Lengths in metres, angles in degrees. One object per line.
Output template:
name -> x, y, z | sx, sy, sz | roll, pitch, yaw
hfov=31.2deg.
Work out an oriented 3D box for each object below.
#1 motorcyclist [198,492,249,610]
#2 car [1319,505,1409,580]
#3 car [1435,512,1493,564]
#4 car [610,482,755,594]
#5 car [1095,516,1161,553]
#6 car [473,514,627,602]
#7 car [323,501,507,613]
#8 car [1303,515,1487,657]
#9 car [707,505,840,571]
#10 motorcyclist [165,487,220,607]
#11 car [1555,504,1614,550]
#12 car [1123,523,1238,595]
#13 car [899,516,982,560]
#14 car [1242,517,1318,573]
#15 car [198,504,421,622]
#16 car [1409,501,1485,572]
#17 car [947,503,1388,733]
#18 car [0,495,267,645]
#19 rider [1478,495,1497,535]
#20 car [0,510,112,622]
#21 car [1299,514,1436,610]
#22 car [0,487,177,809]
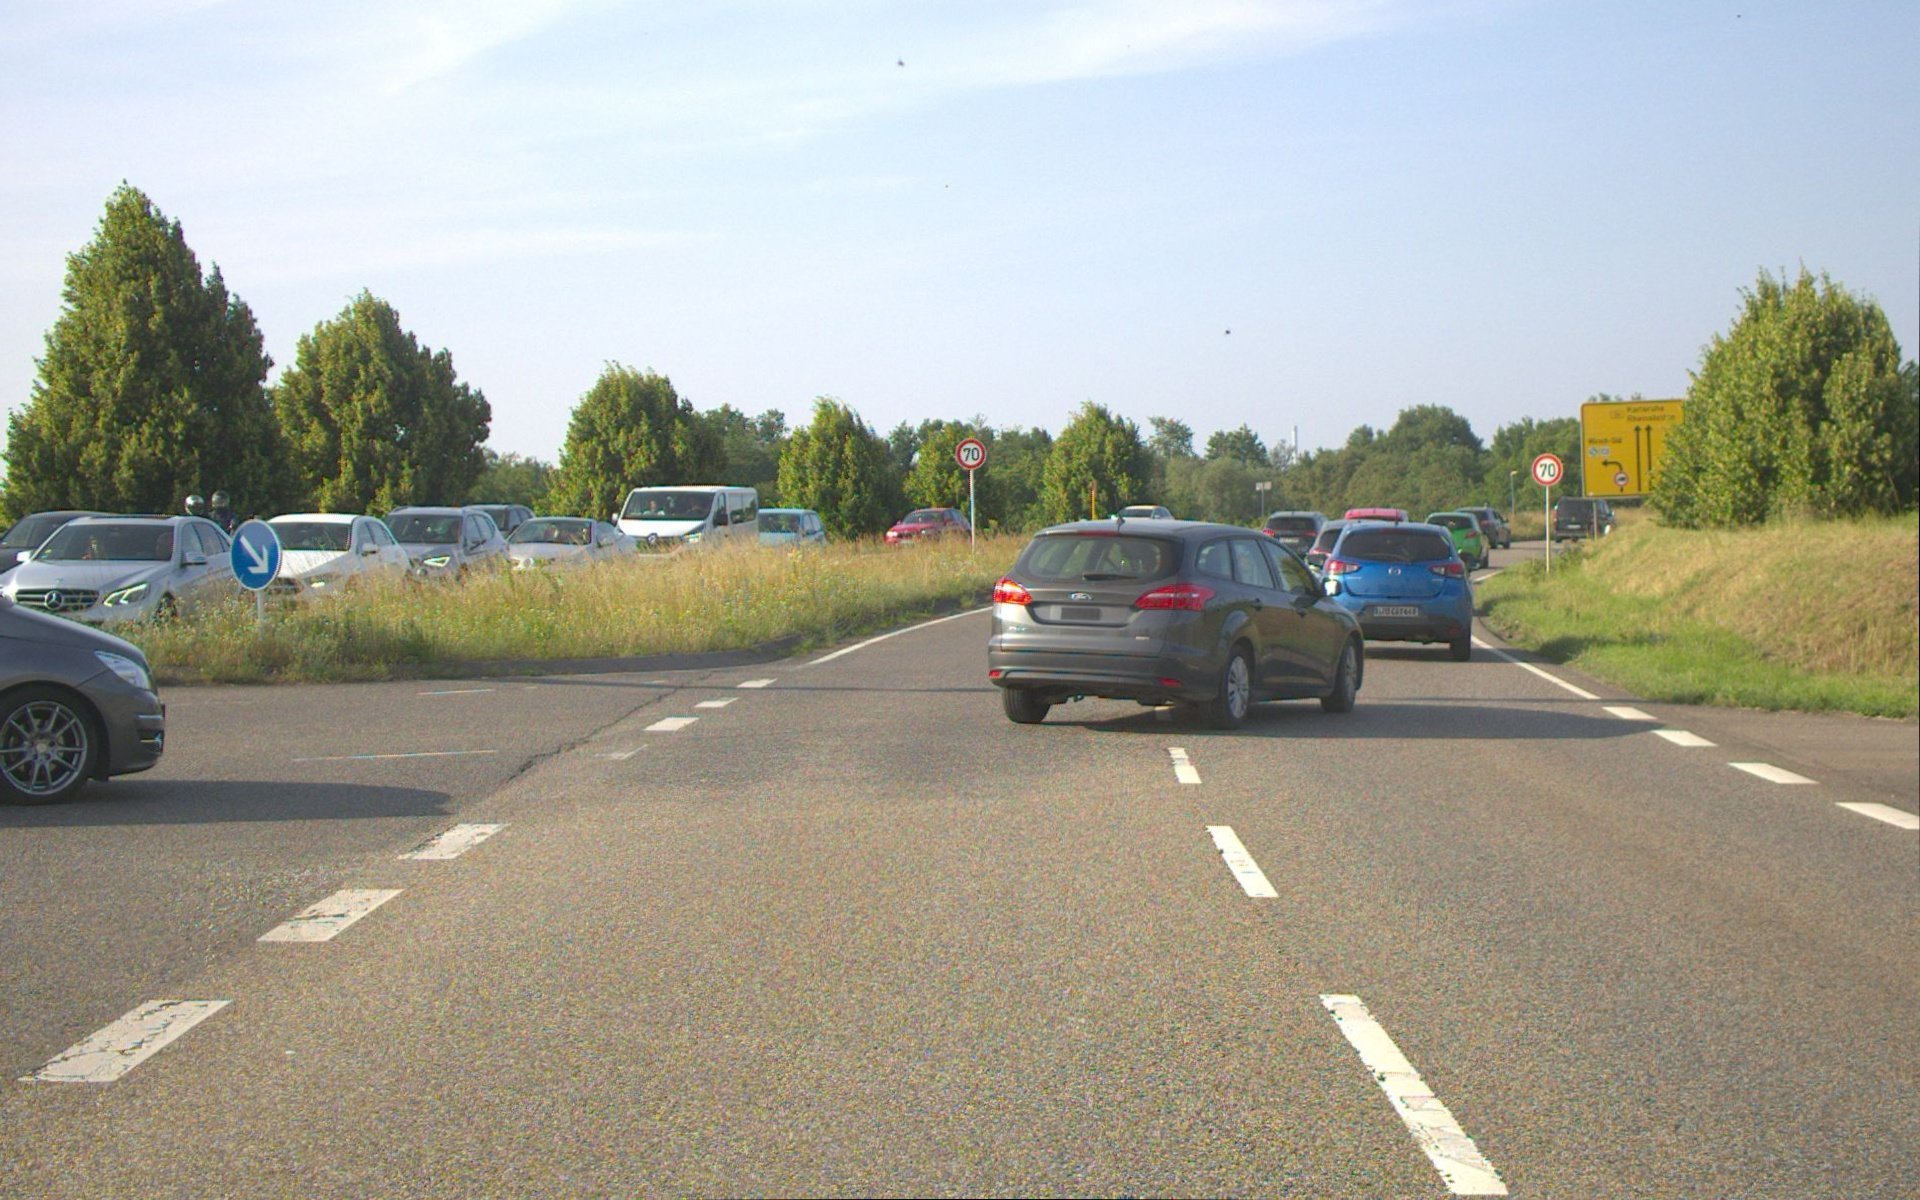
motorcyclist -> -11.439, -0.765, 53.376 | 0.662, 1.810, 0.605 | -1, 1, -3
car -> 8.862, -1.235, 75.446 | 1.895, 1.559, 4.277 | 0, 0, 7
car -> 17.498, -2.135, 119.403 | 1.909, 1.728, 4.277 | 0, 0, 7
car -> -5.308, -1.200, 66.363 | 1.926, 2.071, 4.242 | 0, 1, 7
car -> 6.472, -2.519, 131.945 | 1.787, 1.381, 4.049 | 0, 1, 13
car -> -6.737, -0.715, 56.835 | 1.786, 1.381, 4.051 | -1, 1, 4
car -> -7.989, -0.650, 50.722 | 1.786, 1.563, 4.051 | -1, 1, 4
car -> 4.876, -0.199, 38.156 | 1.773, 1.487, 3.983 | 0, 1, 11
car -> -3.998, -1.353, 74.468 | 1.787, 1.381, 4.049 | 0, 1, 13
motorcyclist -> -11.272, -0.781, 50.502 | 0.662, 1.741, 0.605 | -1, 1, -3
car -> 24.714, -2.876, 136.113 | 1.909, 1.728, 4.277 | 0, 0, 5
car -> 4.255, -0.763, 65.932 | 1.909, 1.318, 4.277 | 0, 0, 8
car -> -0.620, -2.032, 112.323 | 1.787, 1.381, 4.049 | 0, 1, 13
car -> 8.331, -1.406, 89.263 | 1.837, 1.372, 4.277 | 0, 0, 7
car -> -8.341, -0.501, 44.449 | 1.786, 1.428, 4.309 | -1, 1, 4
car -> 12.842, -1.658, 90.782 | 1.909, 1.794, 4.276 | 0, 0, 8
car -> 1.663, 0.075, 25.757 | 1.812, 1.560, 4.525 | 1, 1, 24
car -> -8.922, -0.348, 36.711 | 1.786, 1.483, 4.651 | -1, 1, 4
rider -> 27.067, -4.358, 176.466 | 0.868, 2.007, 0.771 | 0, 1, 16
car -> -12.787, -0.469, 45.638 | 1.786, 1.428, 4.051 | -1, 1, 4
car -> 6.221, -0.561, 52.792 | 1.915, 1.411, 3.795 | 0, 0, 4
car -> -6.251, 0.229, 17.290 | 4.181, 1.600, 1.790 | 0, 0, -28
